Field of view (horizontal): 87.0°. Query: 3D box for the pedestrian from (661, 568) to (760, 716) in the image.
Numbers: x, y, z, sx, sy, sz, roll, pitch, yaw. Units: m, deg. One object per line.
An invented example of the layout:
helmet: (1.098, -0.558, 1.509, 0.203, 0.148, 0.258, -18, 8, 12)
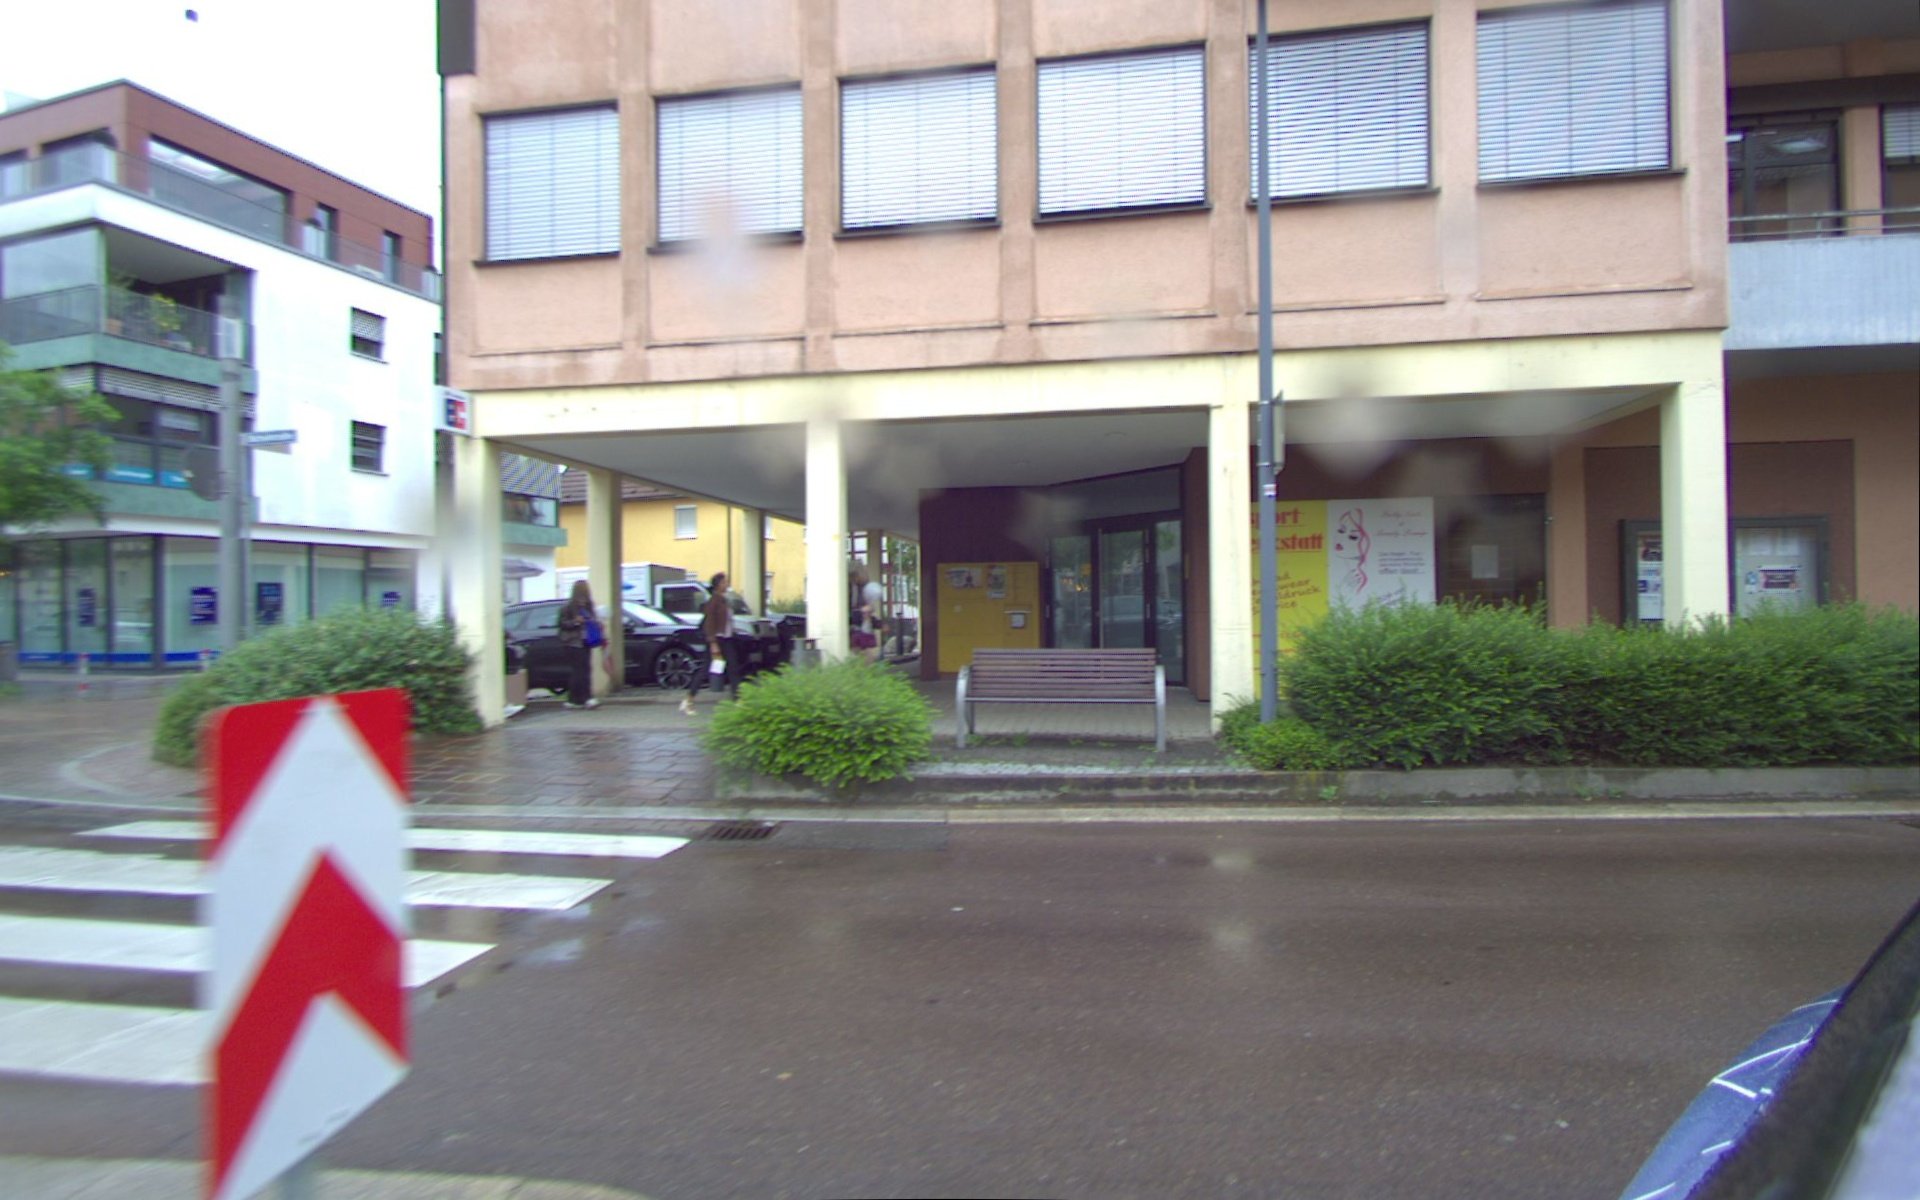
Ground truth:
pedestrian: (-2.841, 0.454, 11.576, 0.813, 1.624, 0.742, 0, 2, 15)

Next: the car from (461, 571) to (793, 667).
car: (-4.877, 0.275, 15.053, 4.400, 1.292, 1.763, -1, 0, 11)

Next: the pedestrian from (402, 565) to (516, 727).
pedestrian: (-5.650, 0.503, 11.452, 0.878, 1.771, 0.733, -1, 0, 10)

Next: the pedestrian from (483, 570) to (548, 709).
pedestrian: (-5.520, 0.477, 12.581, 0.512, 1.684, 0.540, -1, 0, 10)

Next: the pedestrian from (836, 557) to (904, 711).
pedestrian: (-1.033, 0.377, 11.717, 0.719, 1.711, 0.725, -1, 0, -2)

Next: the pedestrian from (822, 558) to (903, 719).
pedestrian: (-1.045, 0.402, 10.971, 0.805, 1.682, 0.698, -1, 0, -2)

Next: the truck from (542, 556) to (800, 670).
truck: (-4.962, 0.234, 17.598, 3.936, 1.831, 1.763, -1, 0, 11)

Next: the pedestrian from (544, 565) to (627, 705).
pedestrian: (-4.695, 0.432, 12.711, 0.731, 1.711, 0.633, -1, 0, 12)
